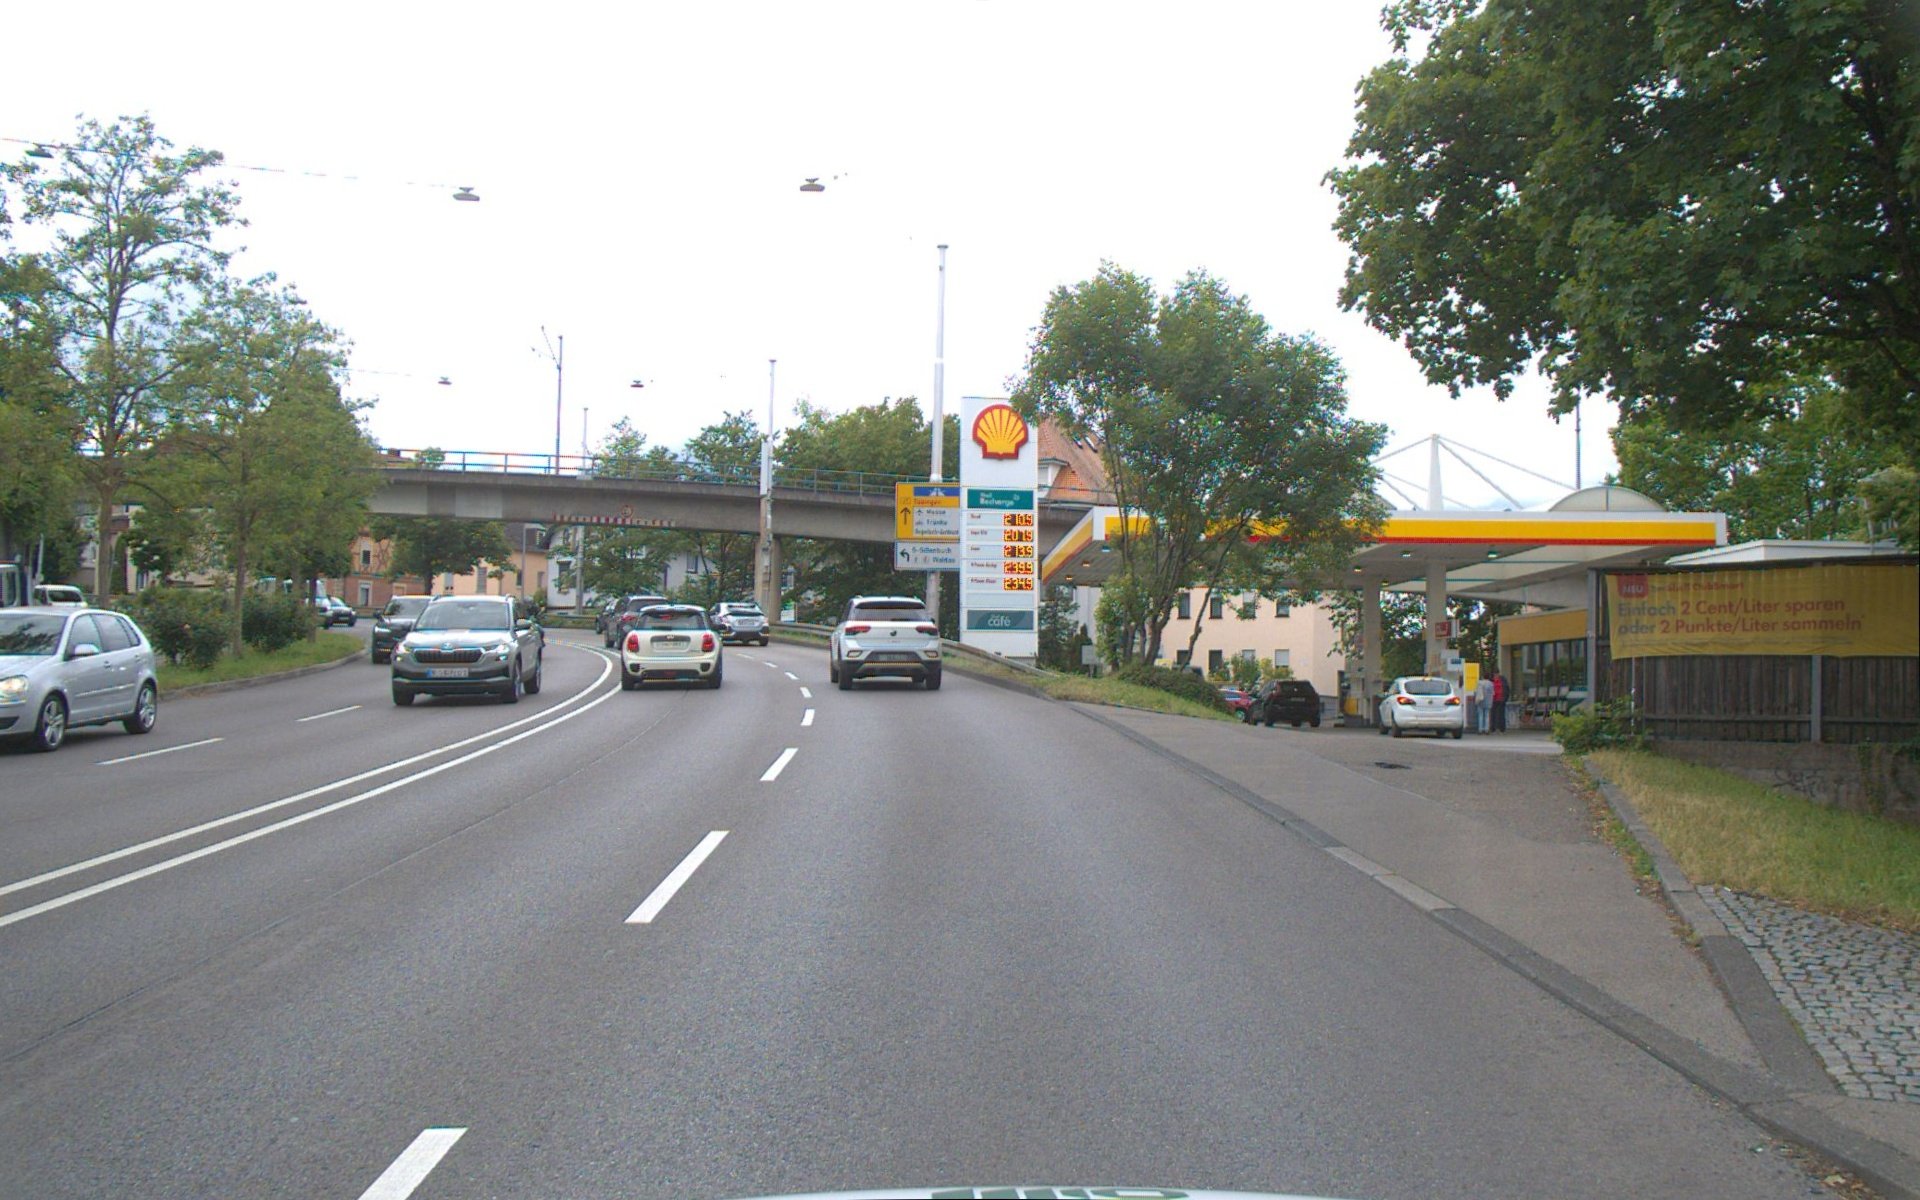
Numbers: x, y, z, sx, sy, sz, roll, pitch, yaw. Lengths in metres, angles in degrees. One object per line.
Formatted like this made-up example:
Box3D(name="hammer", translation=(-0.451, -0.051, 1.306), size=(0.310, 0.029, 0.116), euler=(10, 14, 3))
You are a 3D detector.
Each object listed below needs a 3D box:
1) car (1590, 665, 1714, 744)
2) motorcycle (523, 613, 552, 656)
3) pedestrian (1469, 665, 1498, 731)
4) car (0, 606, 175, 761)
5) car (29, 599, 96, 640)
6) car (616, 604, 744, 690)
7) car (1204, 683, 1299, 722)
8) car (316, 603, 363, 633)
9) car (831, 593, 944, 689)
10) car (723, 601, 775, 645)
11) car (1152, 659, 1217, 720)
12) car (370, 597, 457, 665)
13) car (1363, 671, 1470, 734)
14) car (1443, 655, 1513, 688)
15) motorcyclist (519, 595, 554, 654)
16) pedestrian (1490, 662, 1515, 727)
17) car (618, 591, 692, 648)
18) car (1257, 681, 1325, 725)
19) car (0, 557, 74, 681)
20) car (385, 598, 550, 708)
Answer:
Box3D(name="car", translation=(13.824, 2.056, 32.929), size=(1.567, 1.457, 4.281), euler=(-2, -4, 32))
Box3D(name="motorcycle", translation=(-11.084, 0.920, 43.392), size=(0.476, 1.074, 2.255), euler=(-4, -1, -20))
Box3D(name="pedestrian", translation=(14.021, 2.610, 44.306), size=(0.532, 1.734, 0.609), euler=(1, -1, -6))
Box3D(name="car", translation=(-9.984, 0.813, 17.819), size=(1.535, 1.456, 3.885), euler=(1, 0, -6))
Box3D(name="car", translation=(-41.672, 0.878, 76.731), size=(1.757, 1.816, 4.396), euler=(-1, 1, -42))
Box3D(name="car", translation=(-4.882, 0.785, 29.259), size=(1.687, 1.400, 3.456), euler=(1, 0, -1))
Box3D(name="car", translation=(14.108, 4.962, 80.106), size=(4.207, 1.548, 1.622), euler=(3, -3, 27))
Box3D(name="car", translation=(-31.497, 0.910, 83.920), size=(1.715, 1.439, 4.389), euler=(-1, 0, -28))
Box3D(name="car", translation=(-1.322, 0.682, 29.006), size=(1.762, 1.545, 3.452), euler=(1, 0, -6))
Box3D(name="car", translation=(-7.124, 0.755, 55.872), size=(1.644, 1.433, 3.450), euler=(1, 0, -8))
Box3D(name="car", translation=(7.800, 3.149, 57.710), size=(1.699, 2.046, 4.712), euler=(0, -4, 1))
Box3D(name="car", translation=(-13.843, 0.746, 42.103), size=(1.755, 1.603, 4.451), euler=(-1, 0, -14))
Box3D(name="car", translation=(11.462, 2.593, 41.773), size=(1.699, 1.512, 3.877), euler=(0, -4, 1))
Box3D(name="car", translation=(26.427, 3.658, 84.291), size=(3.547, 1.373, 1.581), euler=(8, -5, -36))
Box3D(name="motorcyclist", translation=(-11.090, 0.641, 43.266), size=(0.749, 1.511, 0.955), euler=(-2, 0, -21))
Box3D(name="pedestrian", translation=(14.743, 2.567, 44.964), size=(0.482, 1.734, 0.431), euler=(1, -1, -10))
Box3D(name="car", translation=(-9.458, 0.597, 51.467), size=(1.688, 1.668, 3.455), euler=(1, 0, -1))
Box3D(name="car", translation=(11.676, 3.657, 58.553), size=(1.699, 1.512, 3.877), euler=(0, -4, 1))
Box3D(name="car", translation=(-19.354, 0.370, 32.069), size=(2.229, 2.313, 6.305), euler=(0, 0, -13))
Box3D(name="car", translation=(-7.558, 0.757, 25.718), size=(1.751, 1.565, 4.070), euler=(0, 0, -6))
